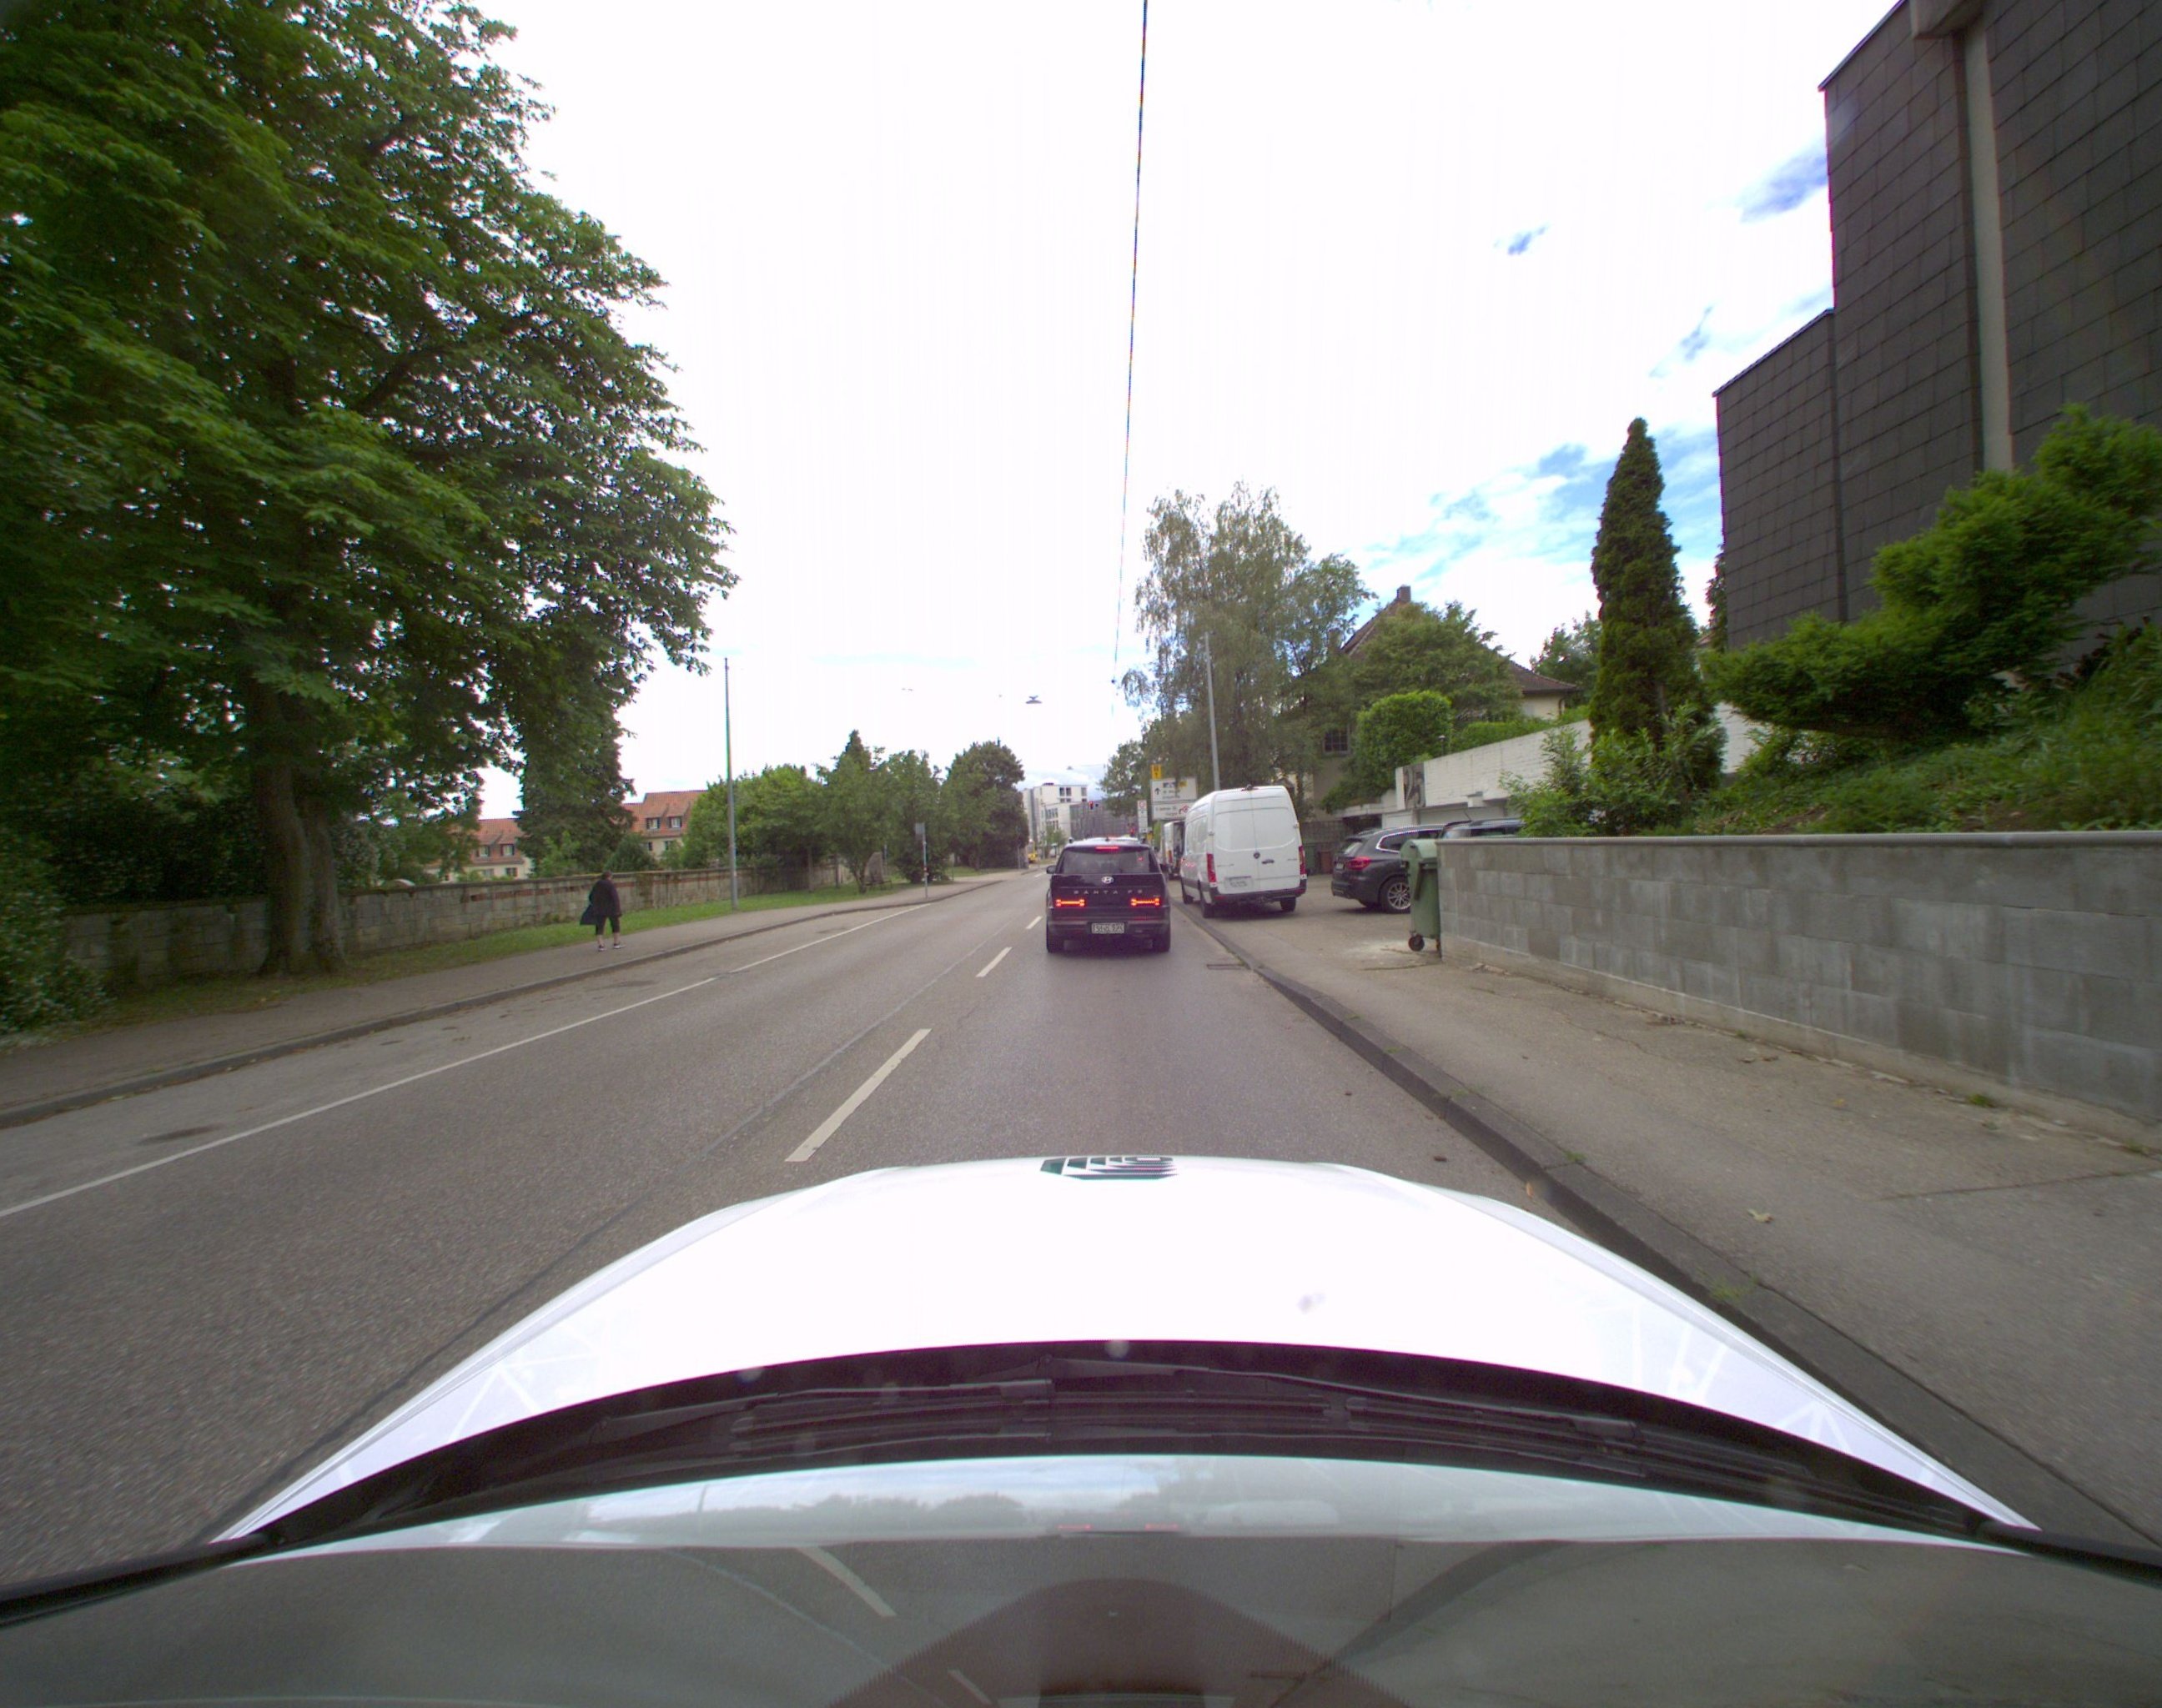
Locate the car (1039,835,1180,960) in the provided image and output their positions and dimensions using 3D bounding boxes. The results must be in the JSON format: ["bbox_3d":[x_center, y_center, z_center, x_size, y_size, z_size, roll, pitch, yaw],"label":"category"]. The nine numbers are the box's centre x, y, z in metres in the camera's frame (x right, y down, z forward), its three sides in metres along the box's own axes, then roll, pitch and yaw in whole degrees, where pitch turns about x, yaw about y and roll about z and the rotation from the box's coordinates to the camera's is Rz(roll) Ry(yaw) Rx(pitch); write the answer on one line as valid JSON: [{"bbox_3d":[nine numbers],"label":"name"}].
[{"bbox_3d":[0.440,0.611,13.542,1.957,1.711,4.001,-2,0,1],"label":"car"}]

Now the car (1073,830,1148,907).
[{"bbox_3d":[0.838,0.374,23.796,1.957,2.001,4.001,-2,0,1],"label":"car"}]

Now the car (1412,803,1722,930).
[{"bbox_3d":[7.552,0.186,12.985,3.780,1.652,1.832,-3,0,5],"label":"car"}]

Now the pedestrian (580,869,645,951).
[{"bbox_3d":[-9.440,1.109,16.453,0.747,1.578,0.965,-1,0,-4],"label":"pedestrian"}]

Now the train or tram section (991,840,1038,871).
[{"bbox_3d":[-11.213,0.447,134.290,3.203,4.523,18.560,-1,-2,-19],"label":"train or tram section"}]

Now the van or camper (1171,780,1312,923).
[{"bbox_3d":[3.486,-0.063,19.082,1.957,2.627,6.360,-5,0,1],"label":"van or camper"}]

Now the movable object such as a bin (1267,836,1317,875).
[{"bbox_3d":[8.273,0.060,32.019,1.447,1.473,1.715,-2,0,-4],"label":"movable object such as a bin"}]

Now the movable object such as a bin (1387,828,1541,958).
[{"bbox_3d":[4.730,0.463,10.180,1.295,1.450,1.181,-4,0,1],"label":"movable object such as a bin"}]

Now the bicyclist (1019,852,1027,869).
[{"bbox_3d":[-5.788,0.660,81.036,0.676,1.659,0.855,-1,-2,-12],"label":"bicyclist"}]

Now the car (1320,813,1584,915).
[{"bbox_3d":[7.239,0.181,16.253,4.376,1.652,1.831,-4,0,3],"label":"car"}]

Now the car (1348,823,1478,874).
[{"bbox_3d":[12.160,-0.192,30.016,3.975,1.711,1.969,-2,0,-1],"label":"car"}]

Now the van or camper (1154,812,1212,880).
[{"bbox_3d":[4.647,-0.369,37.896,1.957,2.797,5.288,-5,0,1],"label":"van or camper"}]

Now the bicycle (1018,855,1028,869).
[{"bbox_3d":[-5.781,0.804,81.004,0.675,1.279,2.490,-1,-2,-12],"label":"bicycle"}]
